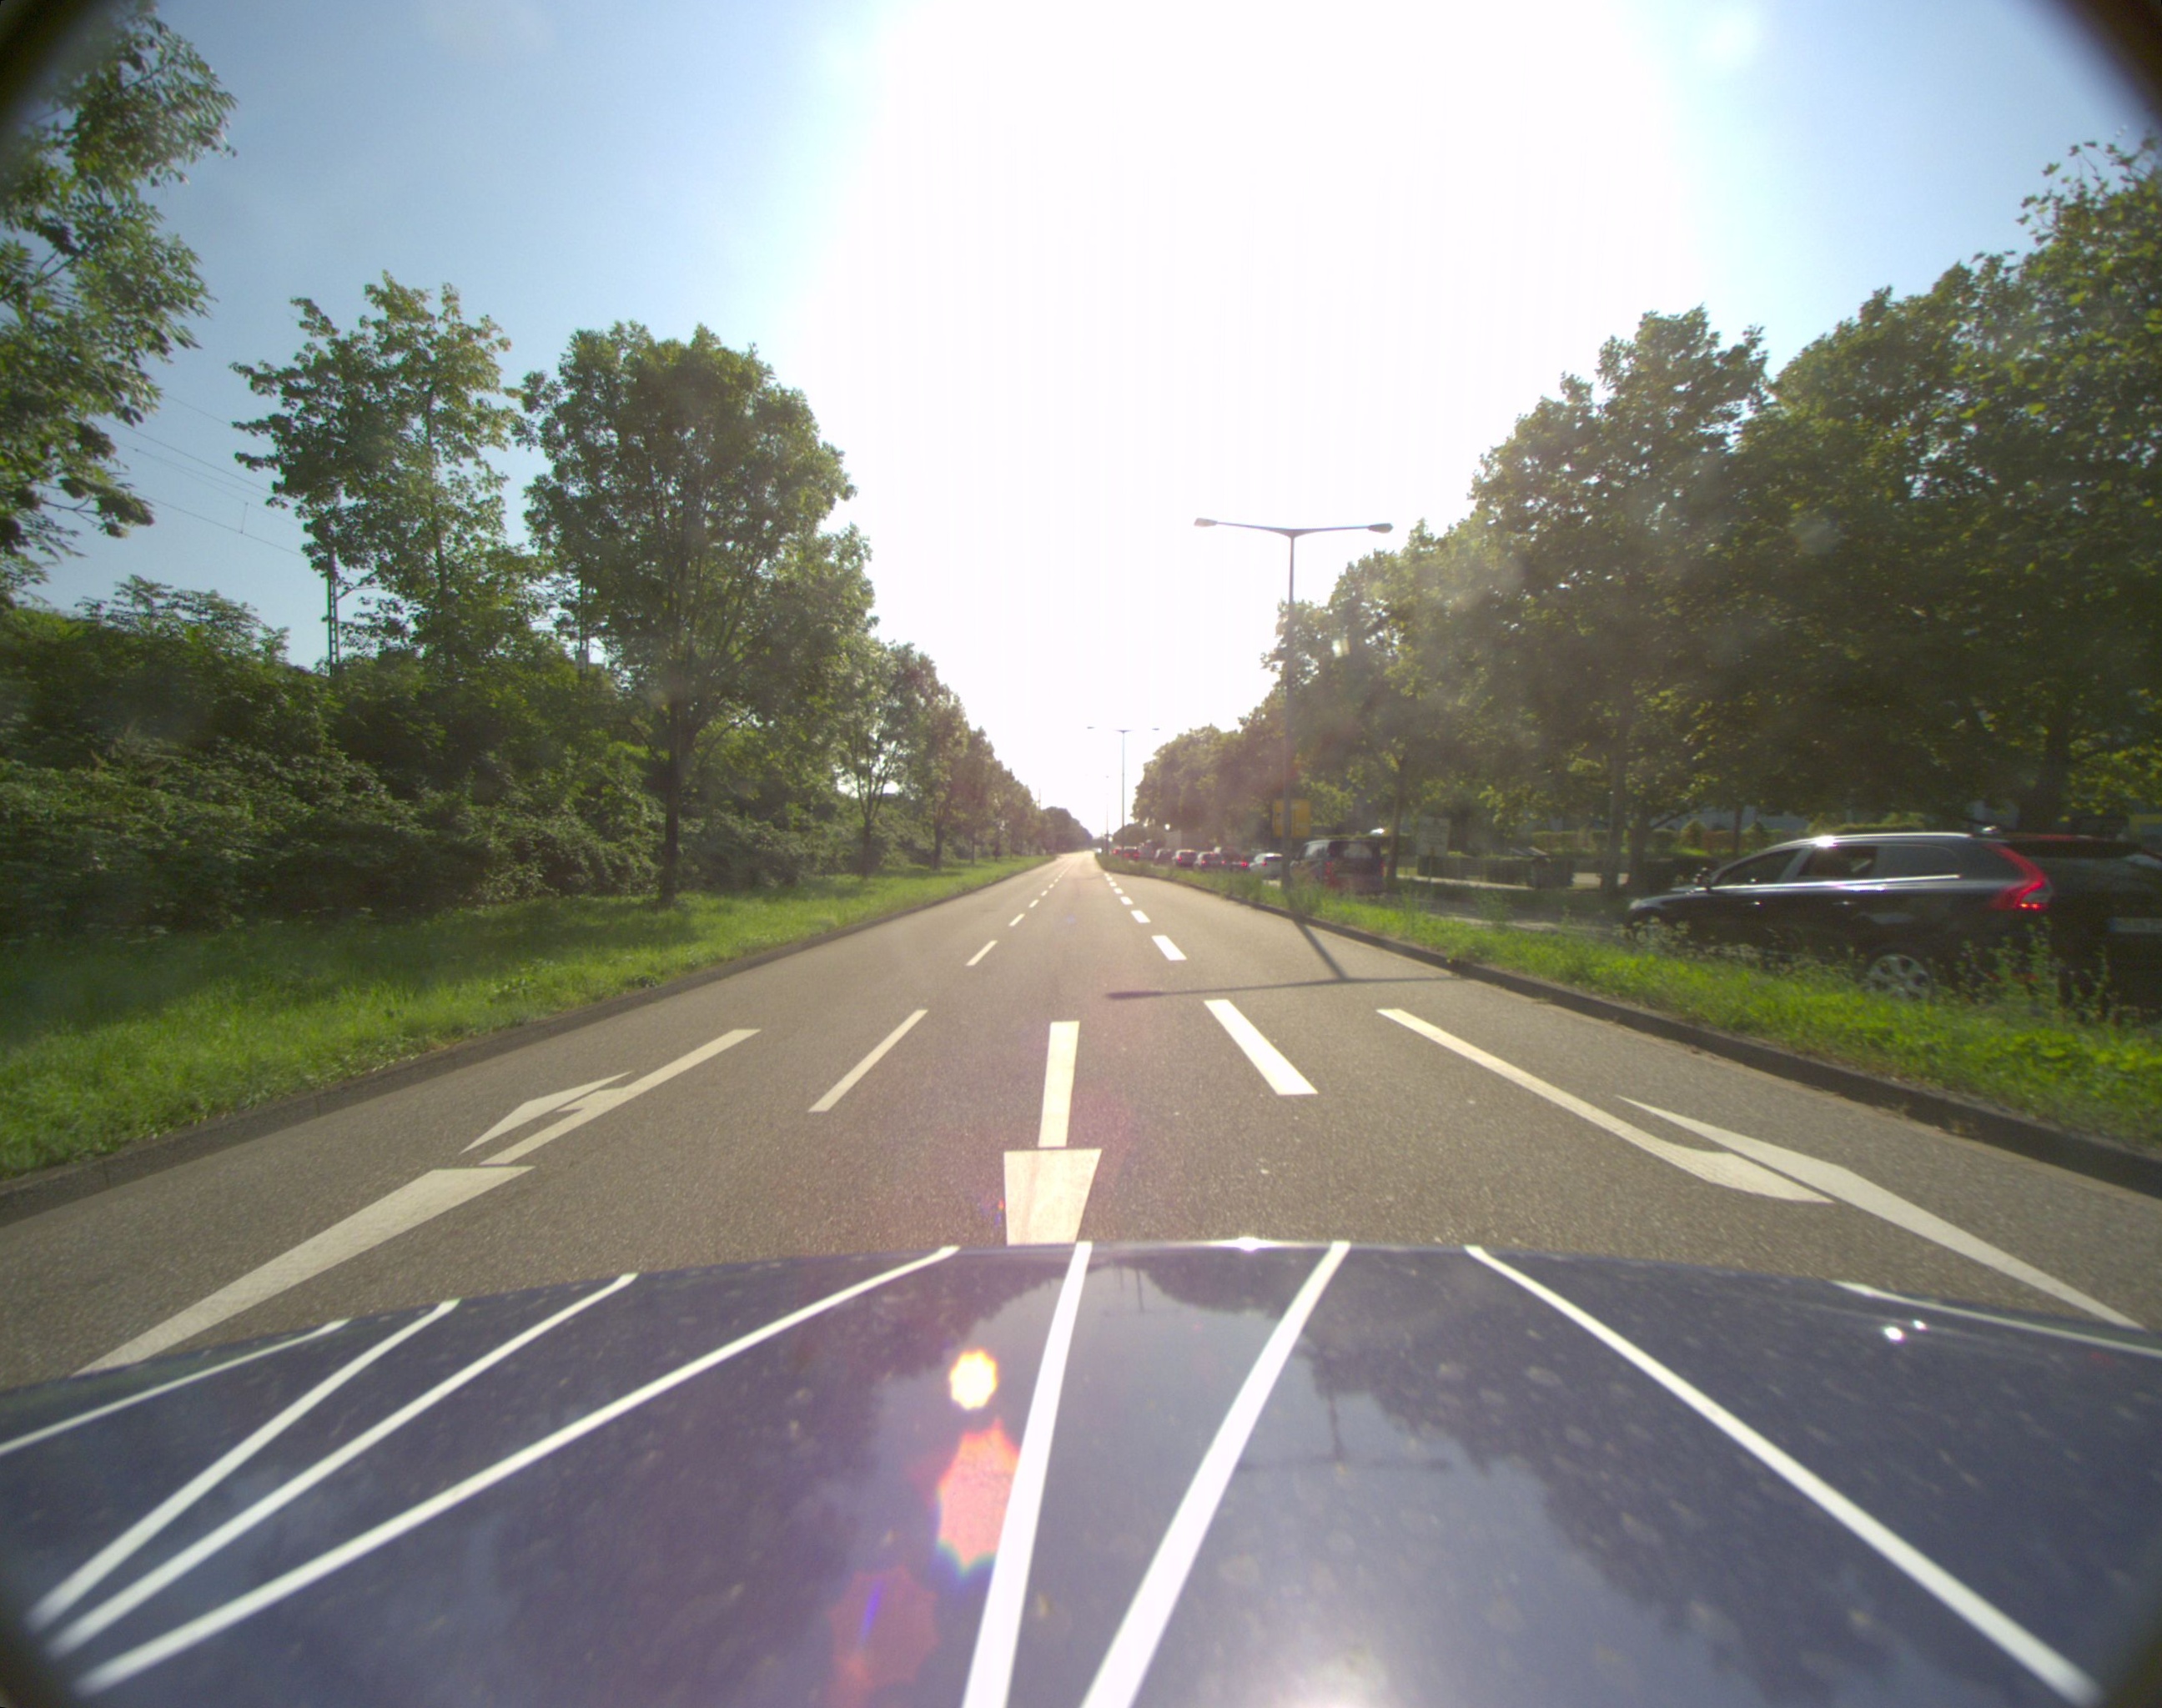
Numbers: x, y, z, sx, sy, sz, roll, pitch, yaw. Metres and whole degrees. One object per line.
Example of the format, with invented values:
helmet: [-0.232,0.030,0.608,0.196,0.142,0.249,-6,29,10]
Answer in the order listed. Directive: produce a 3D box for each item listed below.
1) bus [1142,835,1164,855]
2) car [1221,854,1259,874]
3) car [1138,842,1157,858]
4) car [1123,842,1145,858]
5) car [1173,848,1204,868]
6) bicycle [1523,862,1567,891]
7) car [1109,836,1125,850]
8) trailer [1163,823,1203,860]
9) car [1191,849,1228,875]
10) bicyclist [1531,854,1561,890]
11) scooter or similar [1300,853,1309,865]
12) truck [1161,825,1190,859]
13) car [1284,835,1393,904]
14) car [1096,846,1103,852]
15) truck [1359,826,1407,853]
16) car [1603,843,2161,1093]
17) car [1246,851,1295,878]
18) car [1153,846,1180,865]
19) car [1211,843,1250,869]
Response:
bus: [11.562,-1.503,122.763,2.596,3.062,12.311,-1,1,1]
car: [10.711,0.636,51.437,1.795,1.255,4.095,1,1,2]
car: [8.673,-0.543,99.542,1.998,1.942,5.035,0,1,0]
car: [6.101,-0.521,87.493,1.999,1.749,4.475,2,1,-2]
car: [8.470,0.288,60.218,1.884,1.584,4.108,0,1,0]
bicycle: [18.658,0.896,30.565,0.650,1.101,1.800,0,1,0]
car: [5.062,-1.528,106.922,1.959,1.714,4.587,1,0,1]
trailer: [11.217,-1.340,84.721,2.640,3.800,13.810,1,1,0]
car: [7.967,0.464,47.297,1.680,1.477,3.492,-1,1,0]
bicyclist: [18.670,0.700,30.536,0.650,1.431,0.840,0,1,0]
scooter or similar: [22.175,0.512,75.344,0.510,1.121,1.381,-1,1,2]
truck: [11.248,-1.411,90.809,2.614,3.798,5.890,1,1,0]
car: [8.164,0.450,24.615,1.937,2.016,4.566,0,0,0]
car: [4.918,-1.289,201.801,1.544,1.433,3.396,0,-1,4]
truck: [33.464,-1.637,84.088,5.916,2.844,2.233,-1,1,-37]
car: [7.732,0.765,7.513,1.999,1.696,4.503,-1,1,-1]
car: [11.086,0.576,44.675,1.795,1.473,3.999,0,1,-1]
car: [8.004,0.104,71.845,1.999,1.749,4.306,2,1,0]
car: [11.396,0.133,58.362,1.989,1.848,4.968,1,1,1]
